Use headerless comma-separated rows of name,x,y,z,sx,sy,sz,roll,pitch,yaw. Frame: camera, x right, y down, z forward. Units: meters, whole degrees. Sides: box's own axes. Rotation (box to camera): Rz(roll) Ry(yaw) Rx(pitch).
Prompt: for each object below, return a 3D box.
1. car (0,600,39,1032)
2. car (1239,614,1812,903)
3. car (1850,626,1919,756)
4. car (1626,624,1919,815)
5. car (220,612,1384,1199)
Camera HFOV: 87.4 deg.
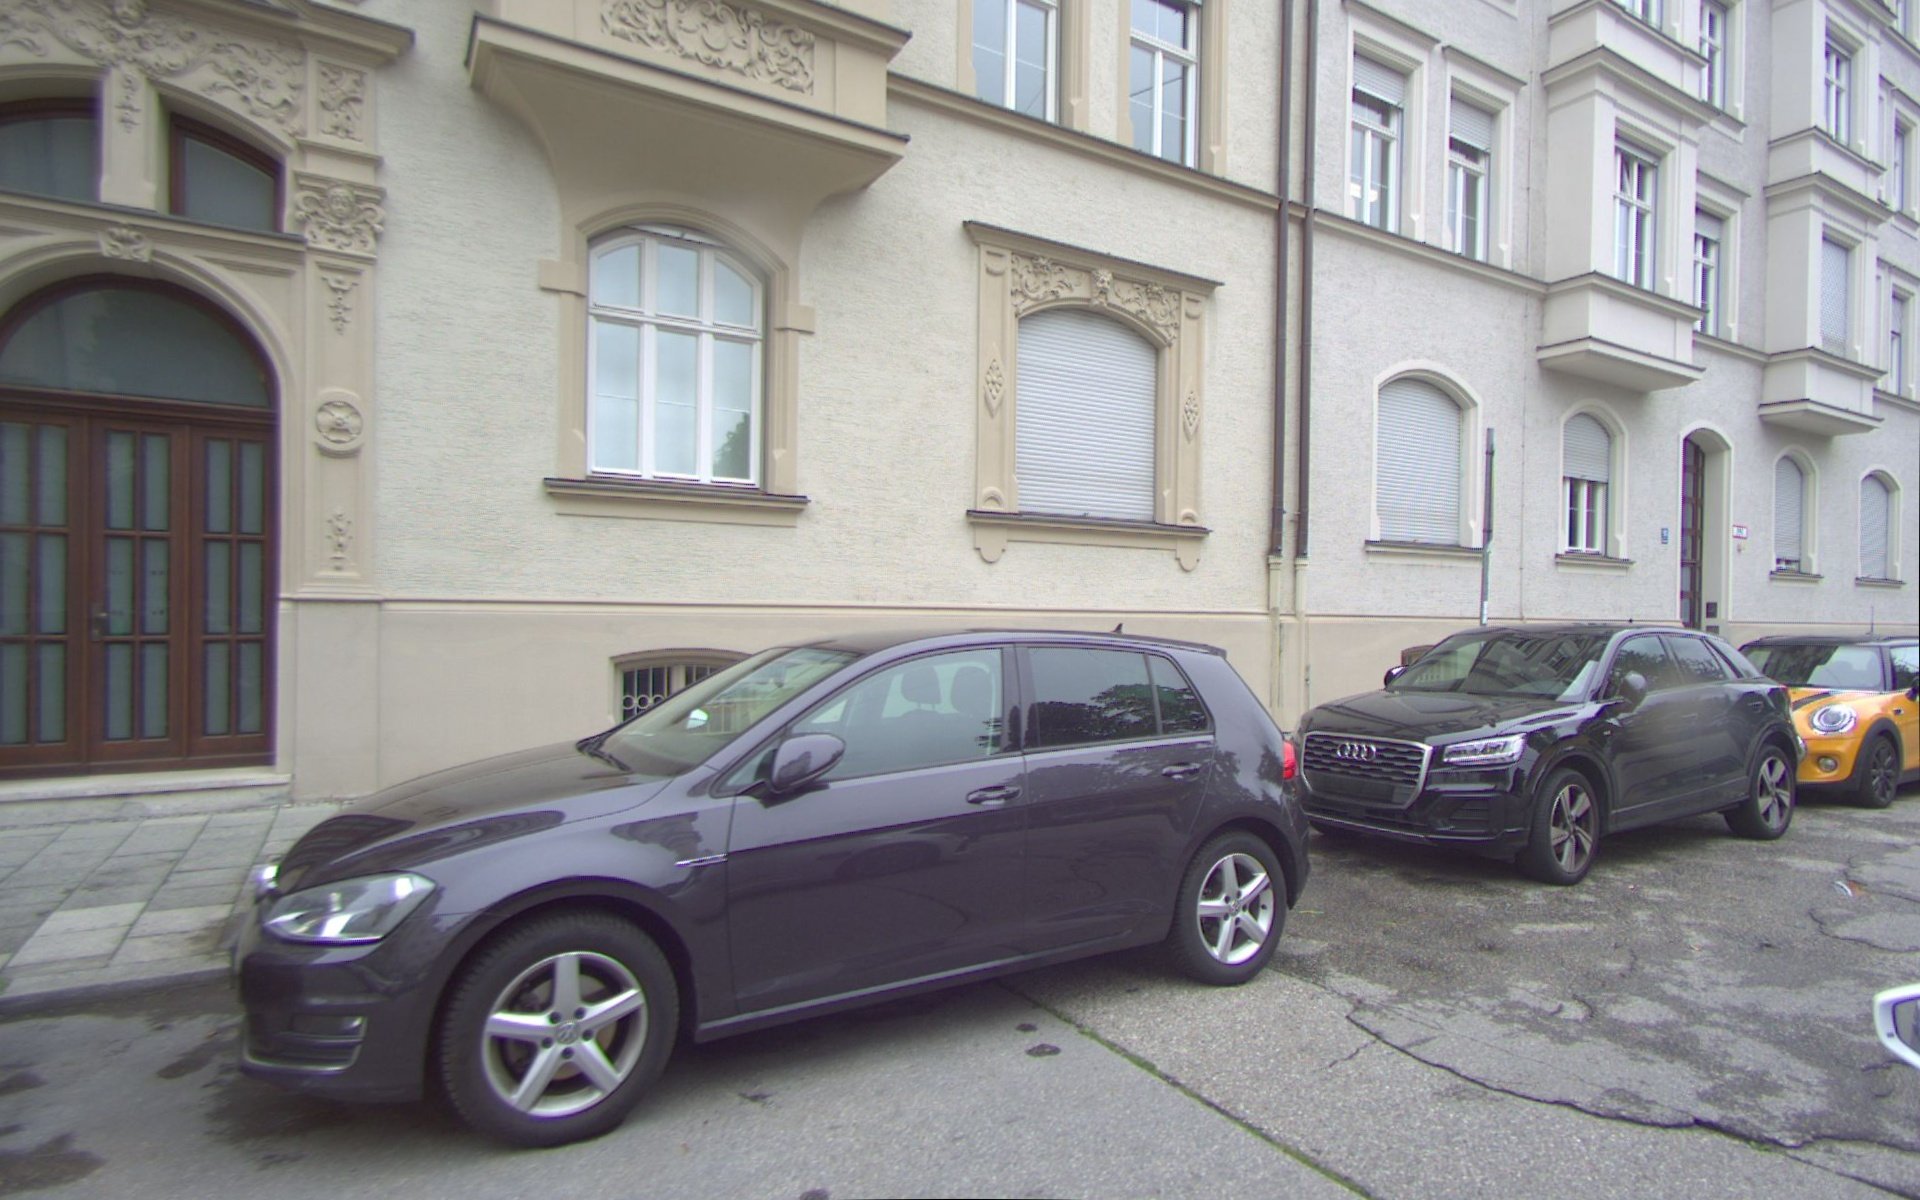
car,-4.880,0.691,1.760,4.502,1.453,1.824,1,-2,-32
car,4.041,0.899,7.068,3.971,1.519,1.745,1,-2,-30
car,13.050,1.119,12.578,3.884,1.519,1.718,2,-2,-30
car,8.369,1.005,9.670,3.923,1.519,1.634,1,-3,-29
car,-0.376,0.820,4.234,4.194,1.454,1.828,1,-3,-30
